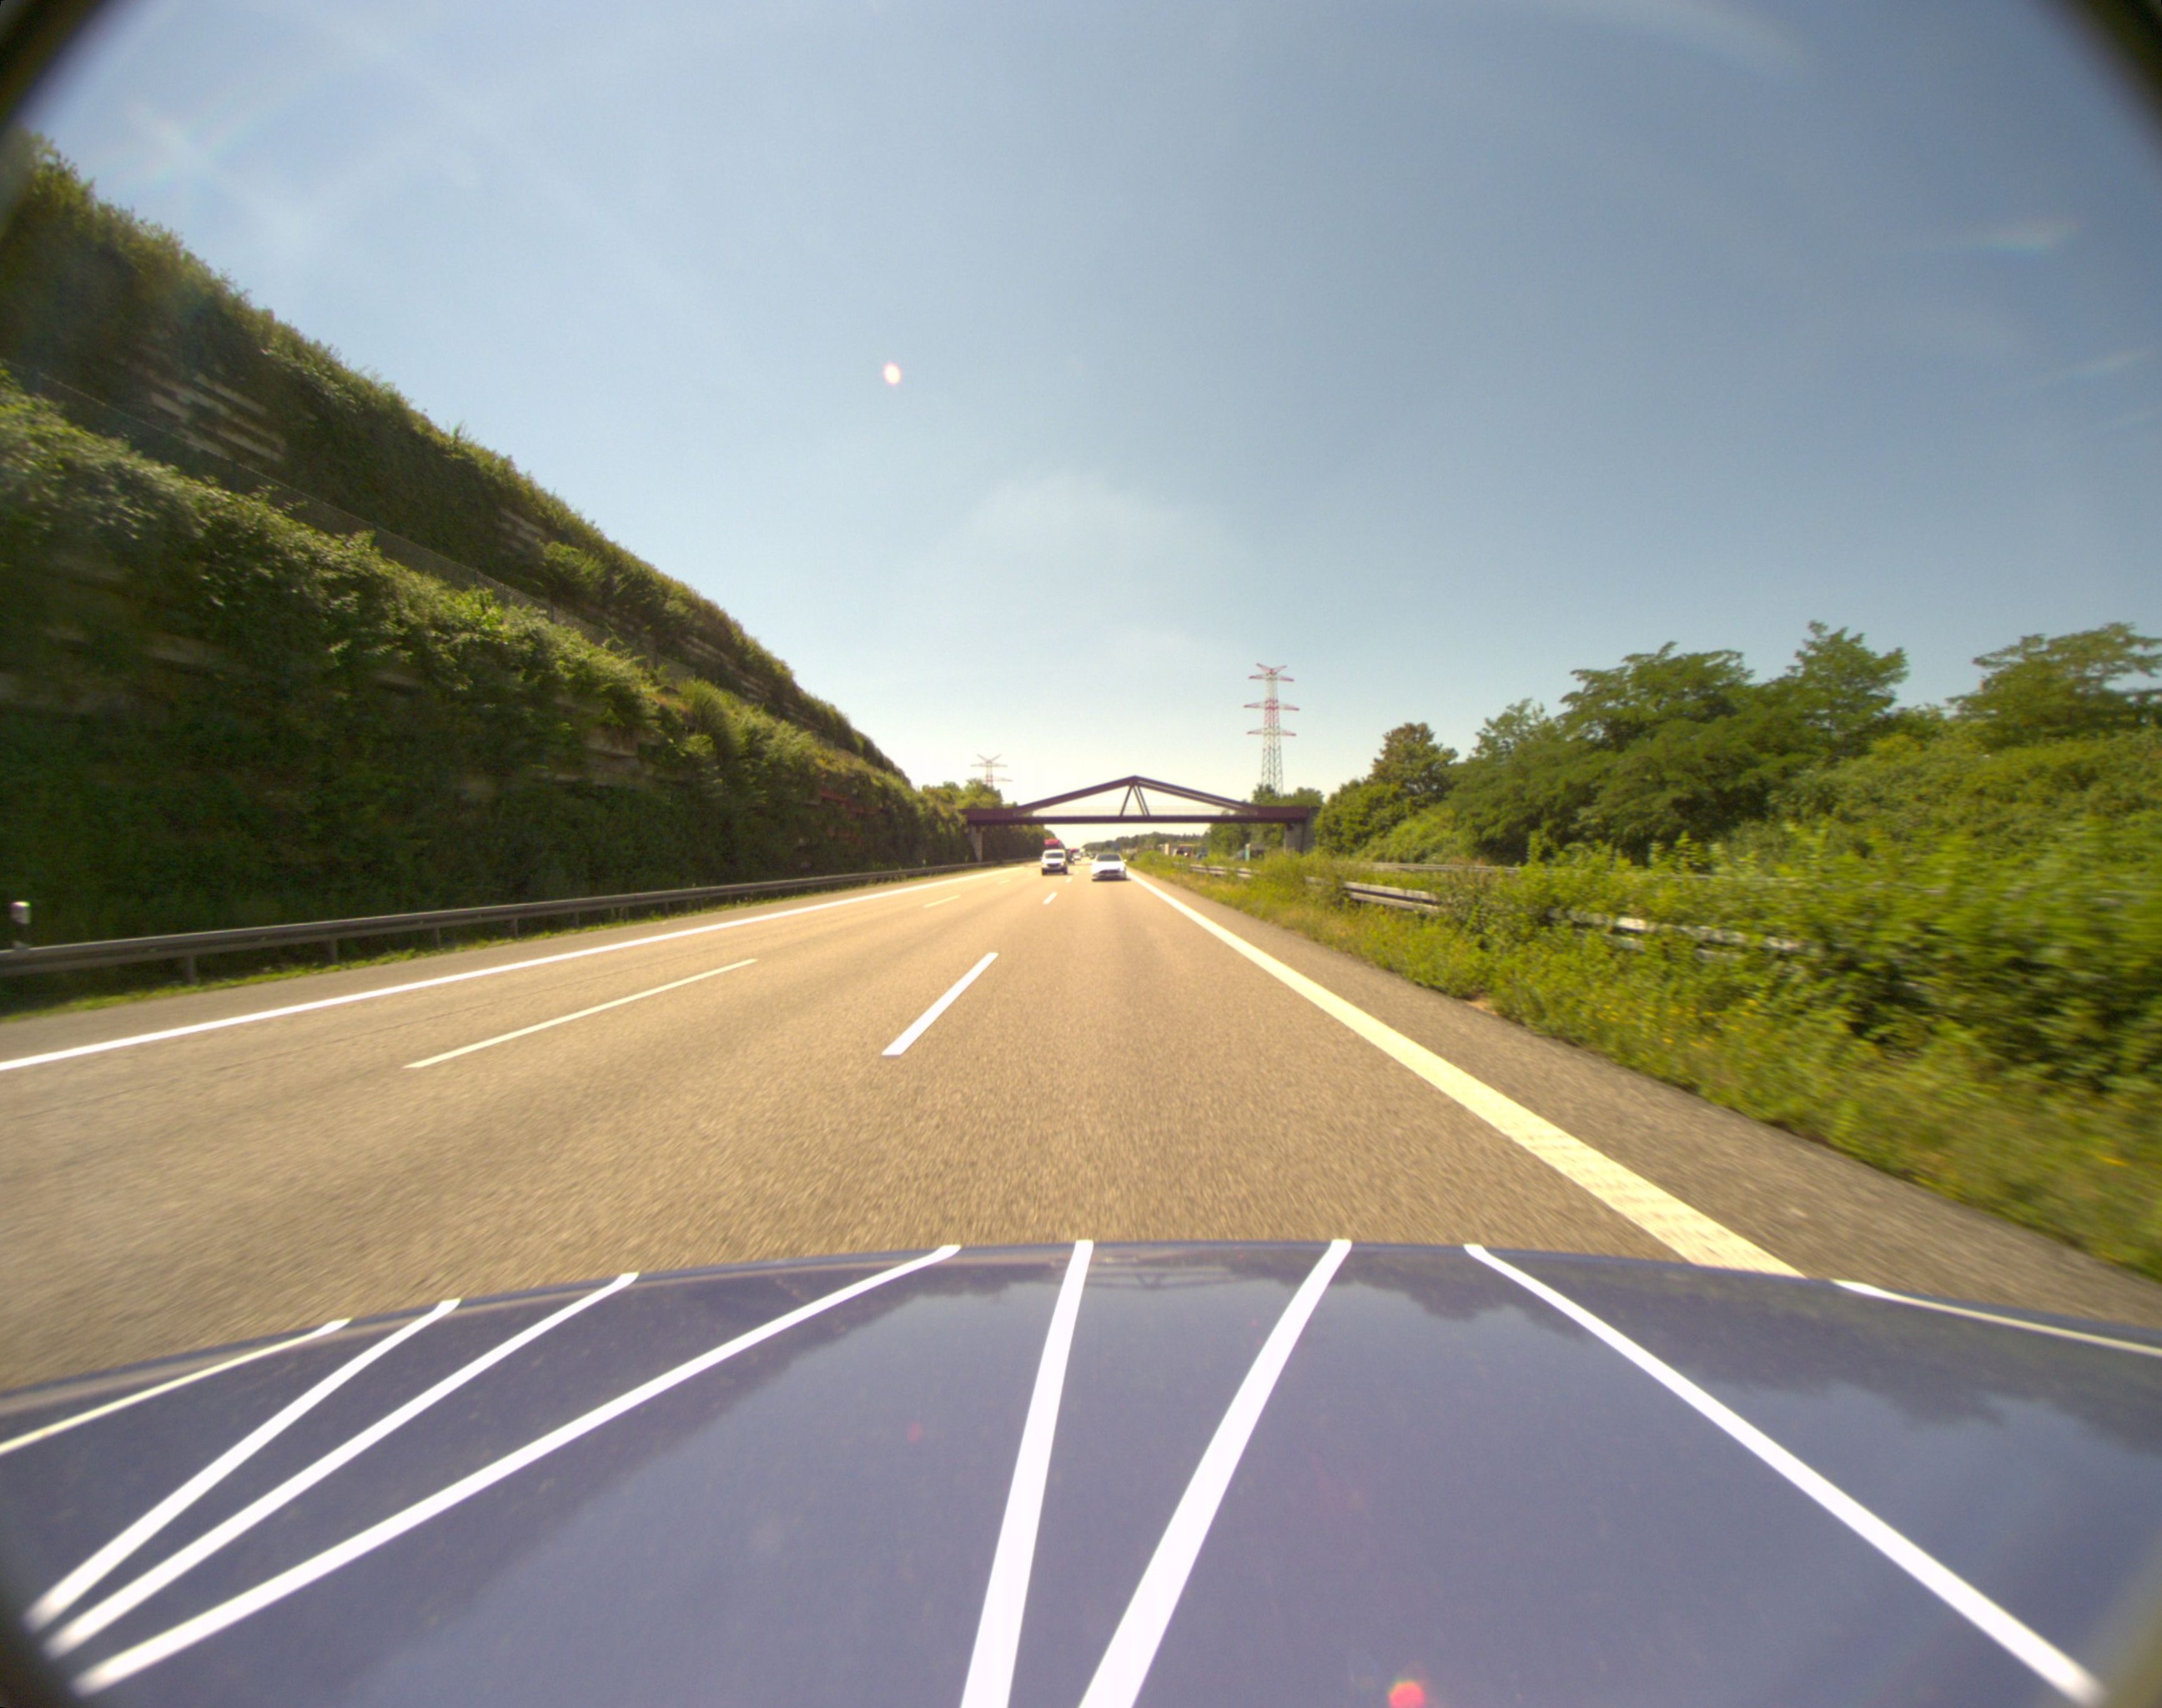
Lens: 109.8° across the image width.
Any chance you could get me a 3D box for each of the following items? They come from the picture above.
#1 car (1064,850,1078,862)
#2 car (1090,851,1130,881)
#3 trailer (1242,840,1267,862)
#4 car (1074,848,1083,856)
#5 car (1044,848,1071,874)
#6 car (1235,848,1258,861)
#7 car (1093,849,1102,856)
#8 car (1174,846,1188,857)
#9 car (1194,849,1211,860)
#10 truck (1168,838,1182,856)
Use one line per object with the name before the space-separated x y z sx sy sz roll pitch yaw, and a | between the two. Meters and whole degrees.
car | -1.318 0.283 104.417 1.784 1.475 3.999 -2 1 0
car | 1.507 0.592 41.073 1.998 1.474 4.108 -2 1 0
trailer | 20.078 -0.355 88.038 1.998 2.504 4.183 0 1 0
car | -0.521 -0.373 152.270 1.784 1.475 3.999 -2 1 0
car | -1.692 0.457 55.672 1.784 1.783 3.999 -2 1 0
car | 20.069 0.054 92.124 1.892 1.622 3.999 0 1 0
car | 3.645 -0.275 166.893 1.784 1.475 3.999 0 1 0
car | 16.432 -0.436 125.225 1.892 1.833 3.999 0 1 0
car | 16.374 0.069 102.404 1.756 1.427 3.999 0 1 0
truck | 21.623 -1.622 175.437 2.443 4.203 5.594 0 1 0
